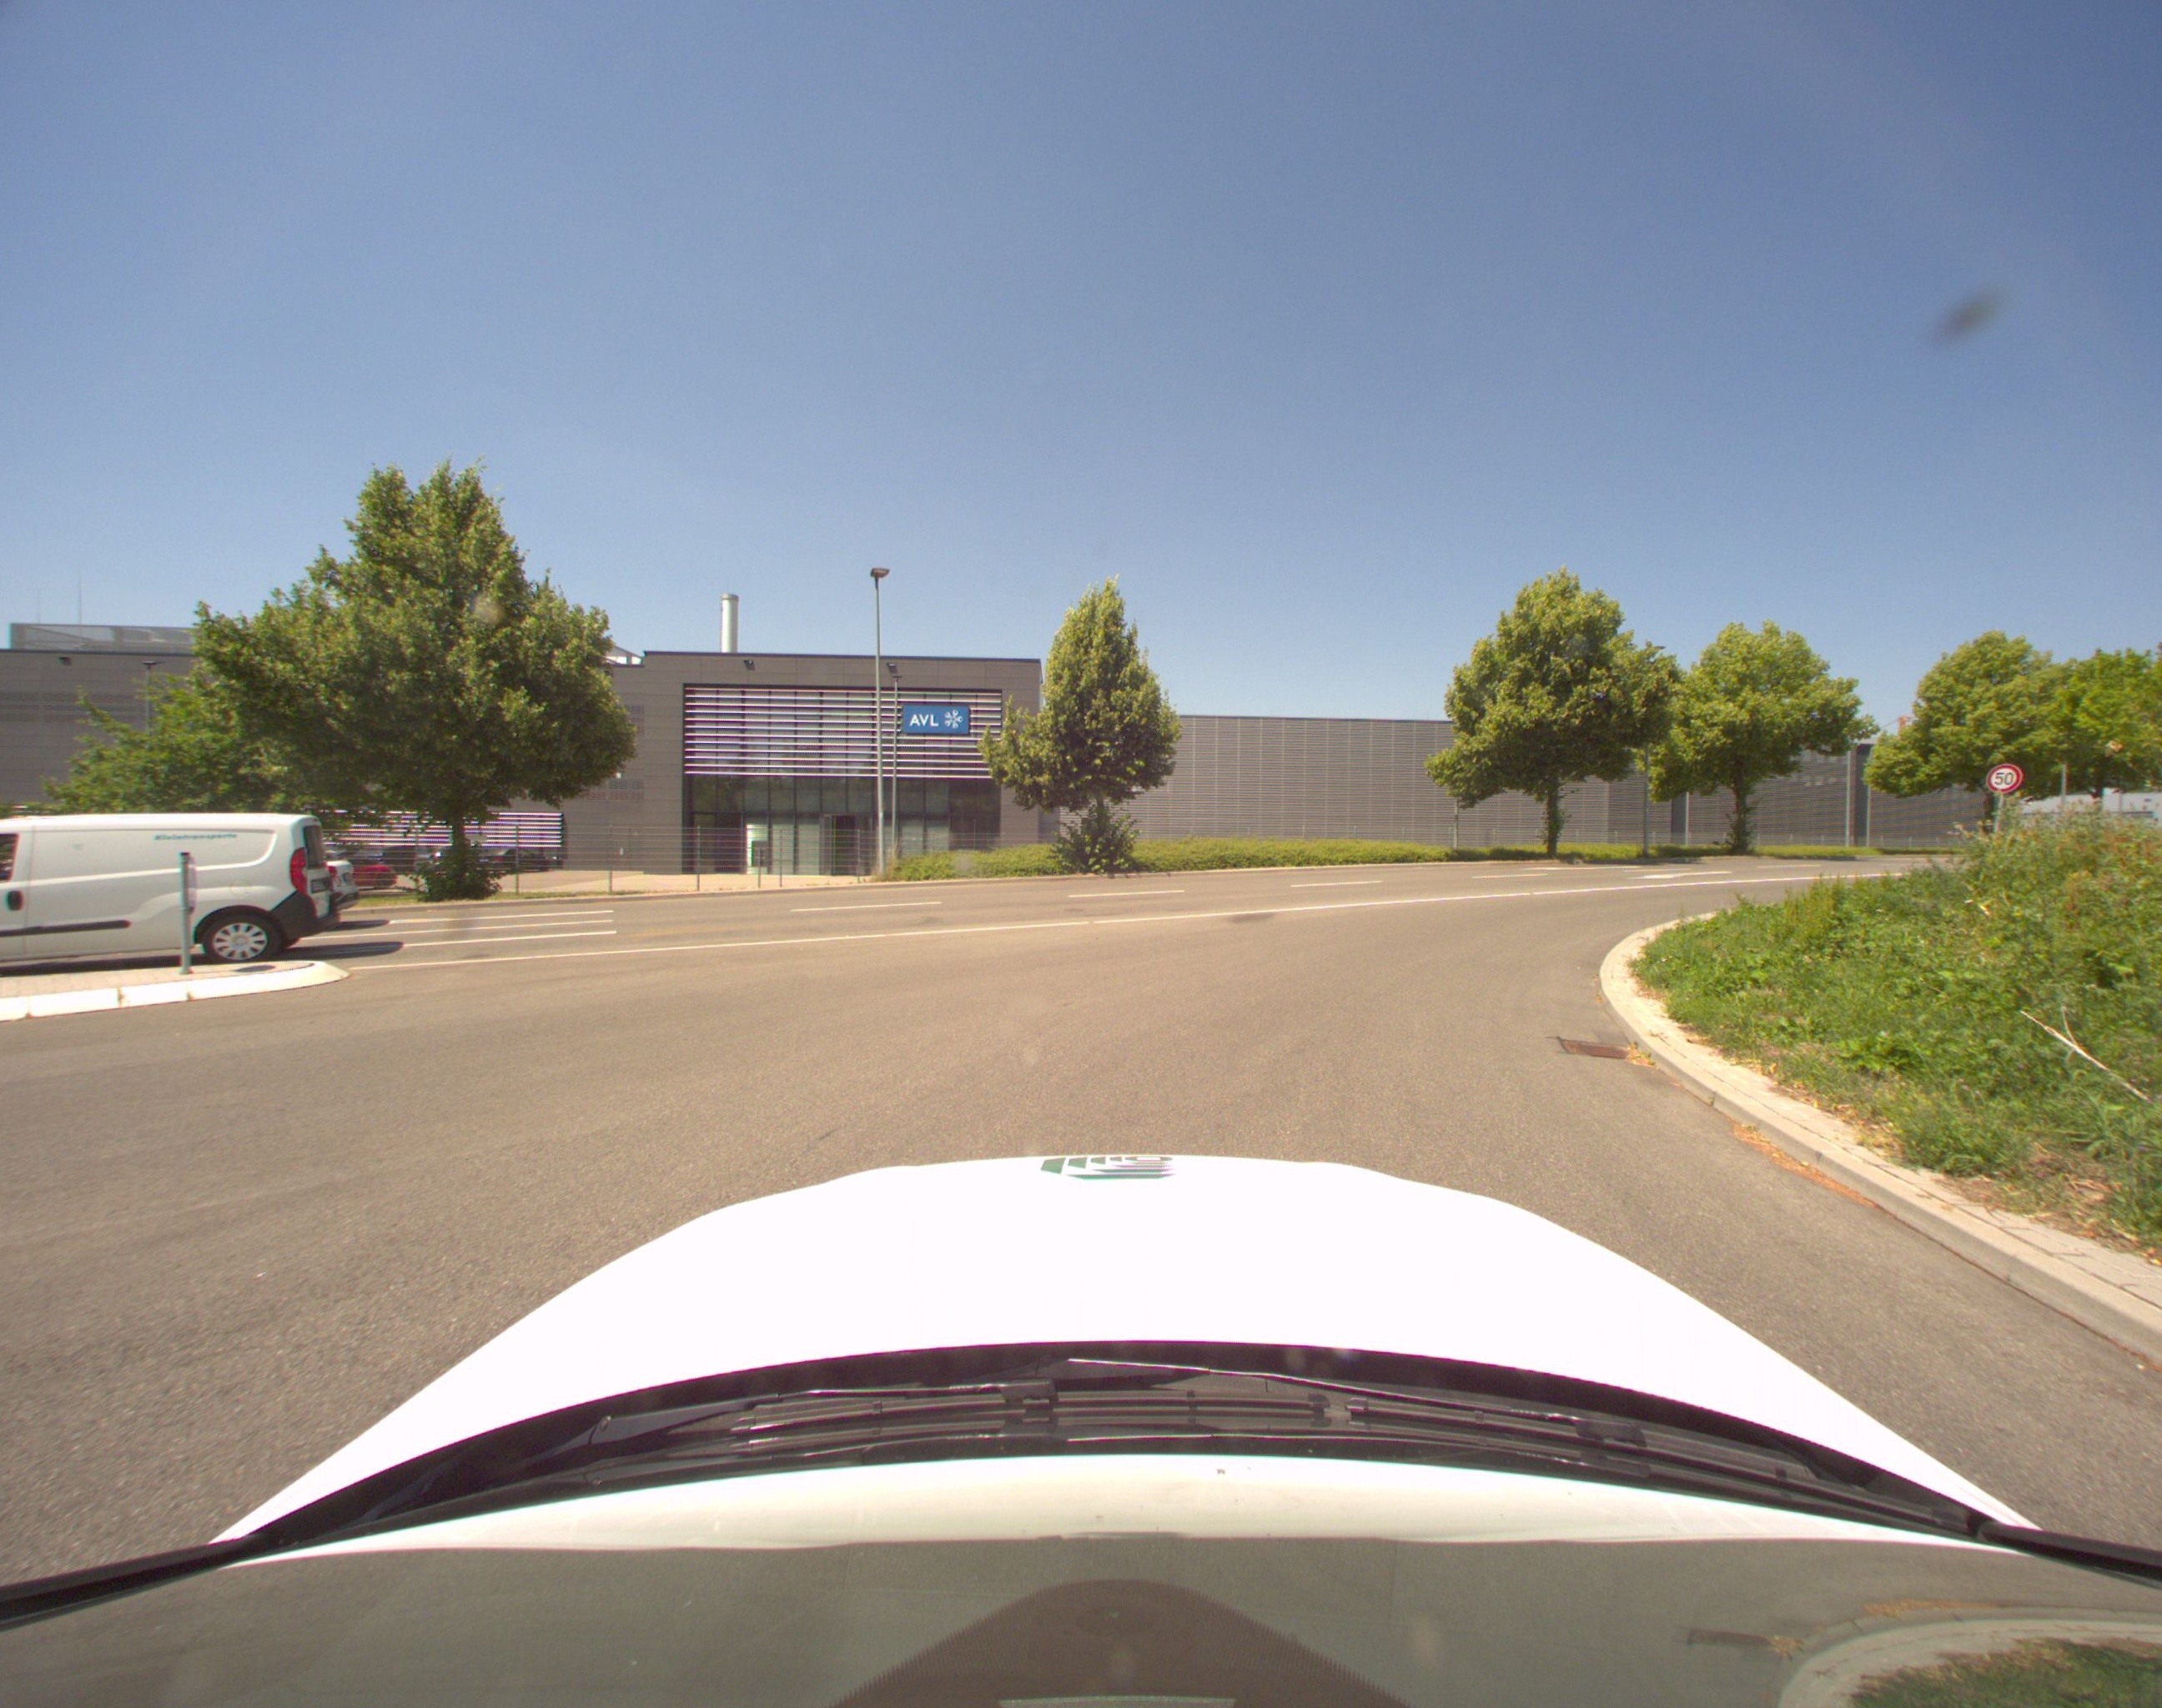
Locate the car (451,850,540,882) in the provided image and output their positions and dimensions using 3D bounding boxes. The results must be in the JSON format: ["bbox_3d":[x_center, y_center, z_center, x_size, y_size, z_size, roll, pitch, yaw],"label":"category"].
[{"bbox_3d":[-30.455,0.570,42.541,1.991,1.486,3.992,-3,1,-6],"label":"car"}]

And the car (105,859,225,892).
[{"bbox_3d":[-46.779,1.067,41.724,1.764,1.460,3.992,-3,1,-6],"label":"car"}]

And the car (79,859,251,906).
[{"bbox_3d":[-33.808,0.989,30.267,1.991,1.486,3.992,-3,1,-6],"label":"car"}]

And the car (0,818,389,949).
[{"bbox_3d":[-13.733,0.356,13.031,3.881,1.706,1.979,0,4,-36],"label":"car"}]

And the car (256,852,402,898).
[{"bbox_3d":[-28.352,0.740,30.906,1.991,1.486,3.992,-3,1,-6],"label":"car"}]

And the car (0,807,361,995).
[{"bbox_3d":[-11.898,0.466,9.603,4.892,1.942,1.979,0,4,-36],"label":"car"}]

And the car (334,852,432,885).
[{"bbox_3d":[-35.875,0.718,42.000,1.812,1.528,3.992,-3,1,-6],"label":"car"}]

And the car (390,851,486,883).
[{"bbox_3d":[-33.066,0.636,42.056,1.991,1.486,3.992,-3,1,-6],"label":"car"}]
